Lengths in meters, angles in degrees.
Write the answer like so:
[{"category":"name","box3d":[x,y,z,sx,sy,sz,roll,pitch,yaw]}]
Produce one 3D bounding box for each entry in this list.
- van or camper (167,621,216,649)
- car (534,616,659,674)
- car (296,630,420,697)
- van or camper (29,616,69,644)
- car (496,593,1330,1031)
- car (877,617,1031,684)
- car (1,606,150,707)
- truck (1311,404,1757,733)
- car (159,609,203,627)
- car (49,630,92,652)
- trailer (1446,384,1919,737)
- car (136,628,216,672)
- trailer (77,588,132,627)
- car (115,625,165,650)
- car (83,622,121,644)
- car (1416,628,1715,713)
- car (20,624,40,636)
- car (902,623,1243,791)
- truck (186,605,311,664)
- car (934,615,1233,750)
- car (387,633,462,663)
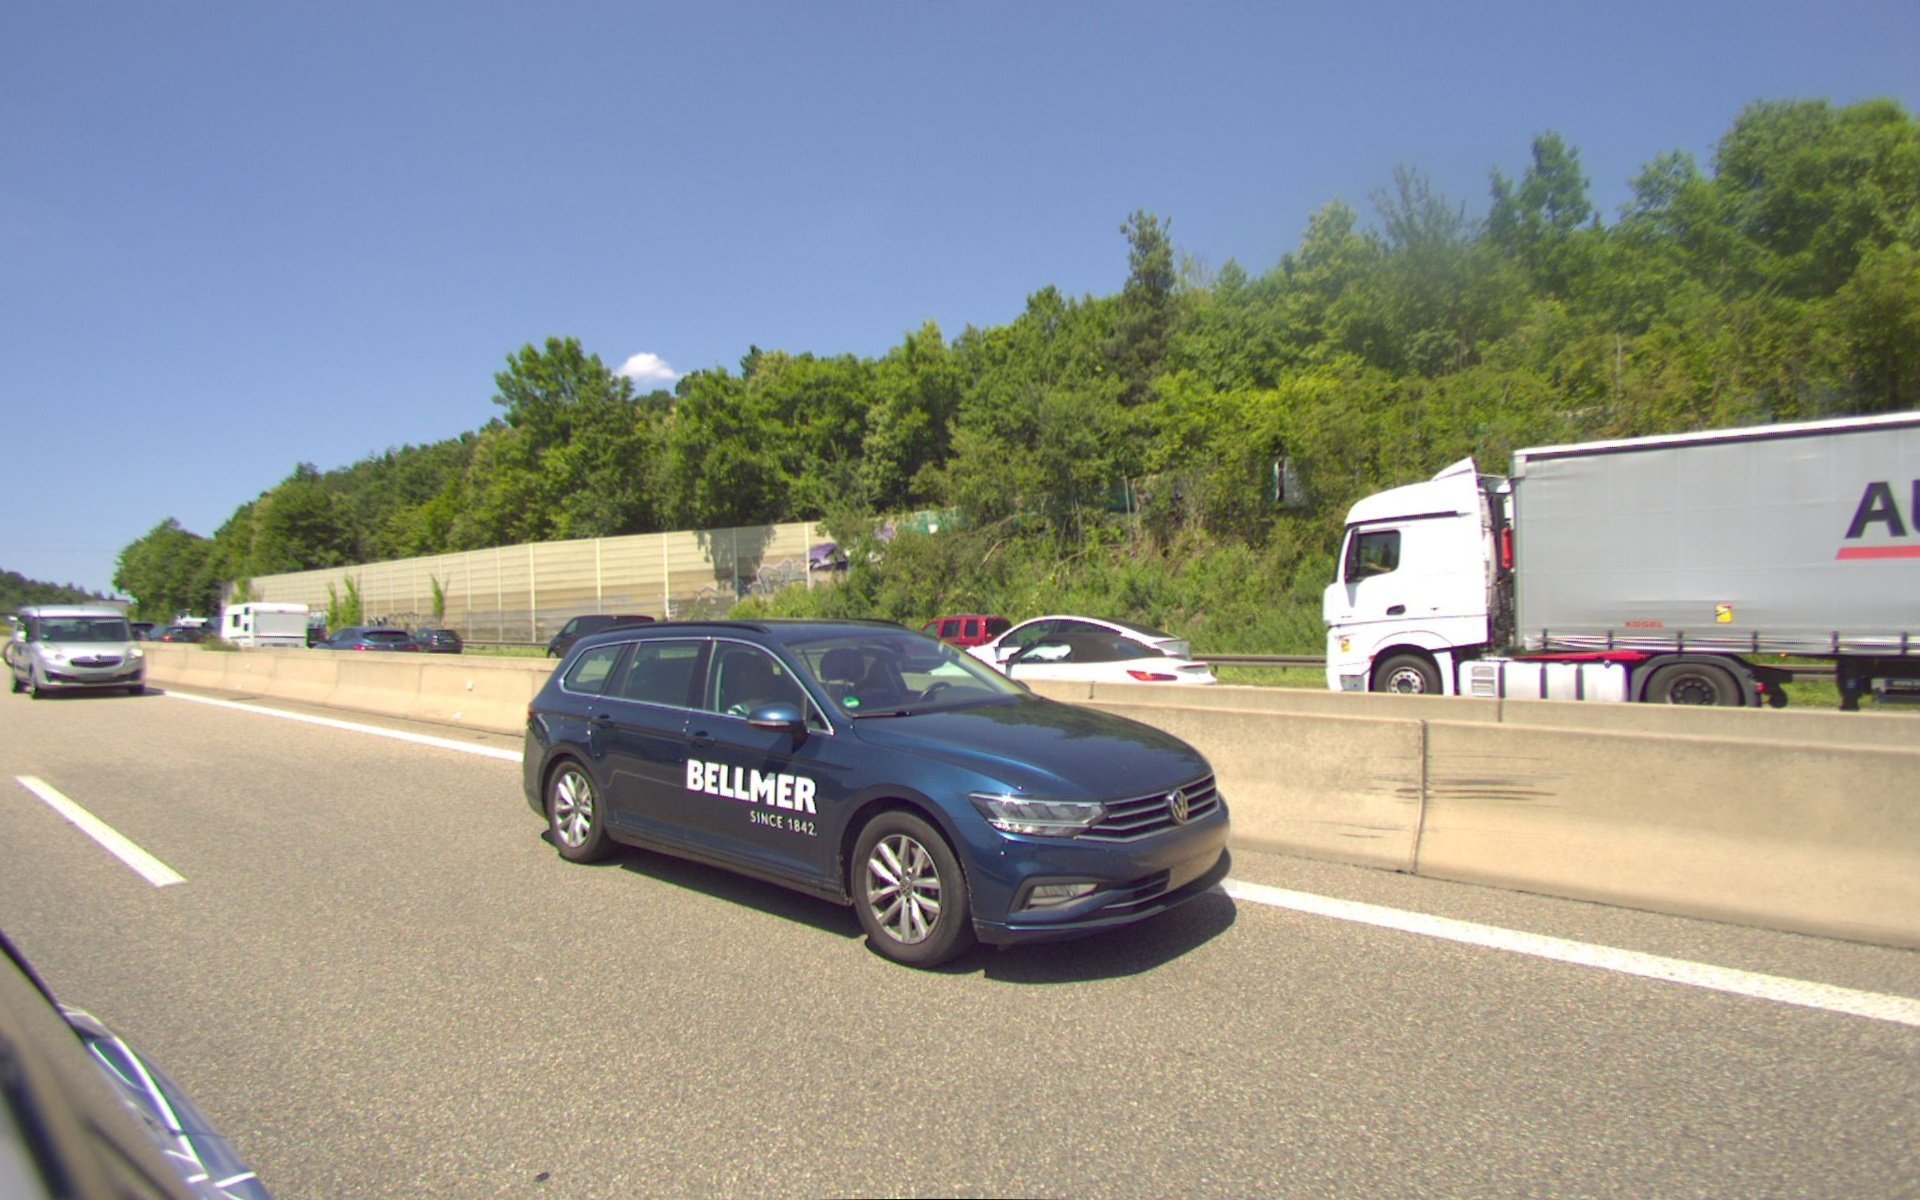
[{"category":"van or camper","box3d":[-55.604,2.518,73.198,3.703,1.992,2.054,-2,-3,41]},{"category":"car","box3d":[-12.436,1.496,34.479,4.859,1.823,1.717,-1,-2,39]},{"category":"car","box3d":[-17.351,1.760,29.121,4.180,1.785,1.754,-1,-2,40]},{"category":"van or camper","box3d":[-94.572,3.102,105.025,6.802,2.756,2.246,-1,-2,41]},{"category":"car","box3d":[-0.637,0.761,5.563,4.728,1.438,1.714,-1,-2,42]},{"category":"car","box3d":[-0.234,1.382,28.816,4.374,1.764,1.659,-1,-2,40]},{"category":"car","box3d":[-18.122,1.107,20.678,3.998,1.858,1.757,-1,-3,41]},{"category":"truck","box3d":[8.891,-0.346,16.004,5.657,4.246,2.811,-2,-2,41]},{"category":"car","box3d":[-59.592,1.379,77.429,4.721,1.357,1.782,-1,-2,42]},{"category":"car","box3d":[-58.280,2.693,66.291,4.268,1.386,1.597,-1,-2,42]},{"category":"trailer","box3d":[13.899,-0.468,11.682,14.730,4.197,2.805,-1,-3,41]},{"category":"car","box3d":[-34.625,2.176,44.667,4.692,1.815,1.926,-1,-2,42]},{"category":"trailer","box3d":[-91.609,0.884,108.271,13.826,3.938,2.782,-1,-2,43]},{"category":"car","box3d":[-56.934,2.574,70.250,4.925,1.652,1.905,-1,-2,41]},{"category":"car","box3d":[-68.055,2.640,80.269,4.194,1.696,1.675,-1,-2,41]},{"category":"car","box3d":[11.054,1.218,18.683,4.499,1.381,1.744,-1,-2,41]},{"category":"car","box3d":[-147.513,4.817,160.488,5.302,1.881,1.901,-2,-2,42]},{"category":"car","box3d":[1.367,1.224,13.106,3.998,1.807,1.973,-1,-2,41]},{"category":"truck","box3d":[-36.376,1.691,51.510,11.623,2.709,2.501,-1,-2,42]},{"category":"car","box3d":[1.992,1.270,17.198,4.745,1.964,1.973,-1,-2,40]},{"category":"car","box3d":[-27.775,2.465,52.428,4.692,1.446,1.926,-1,-2,42]}]
